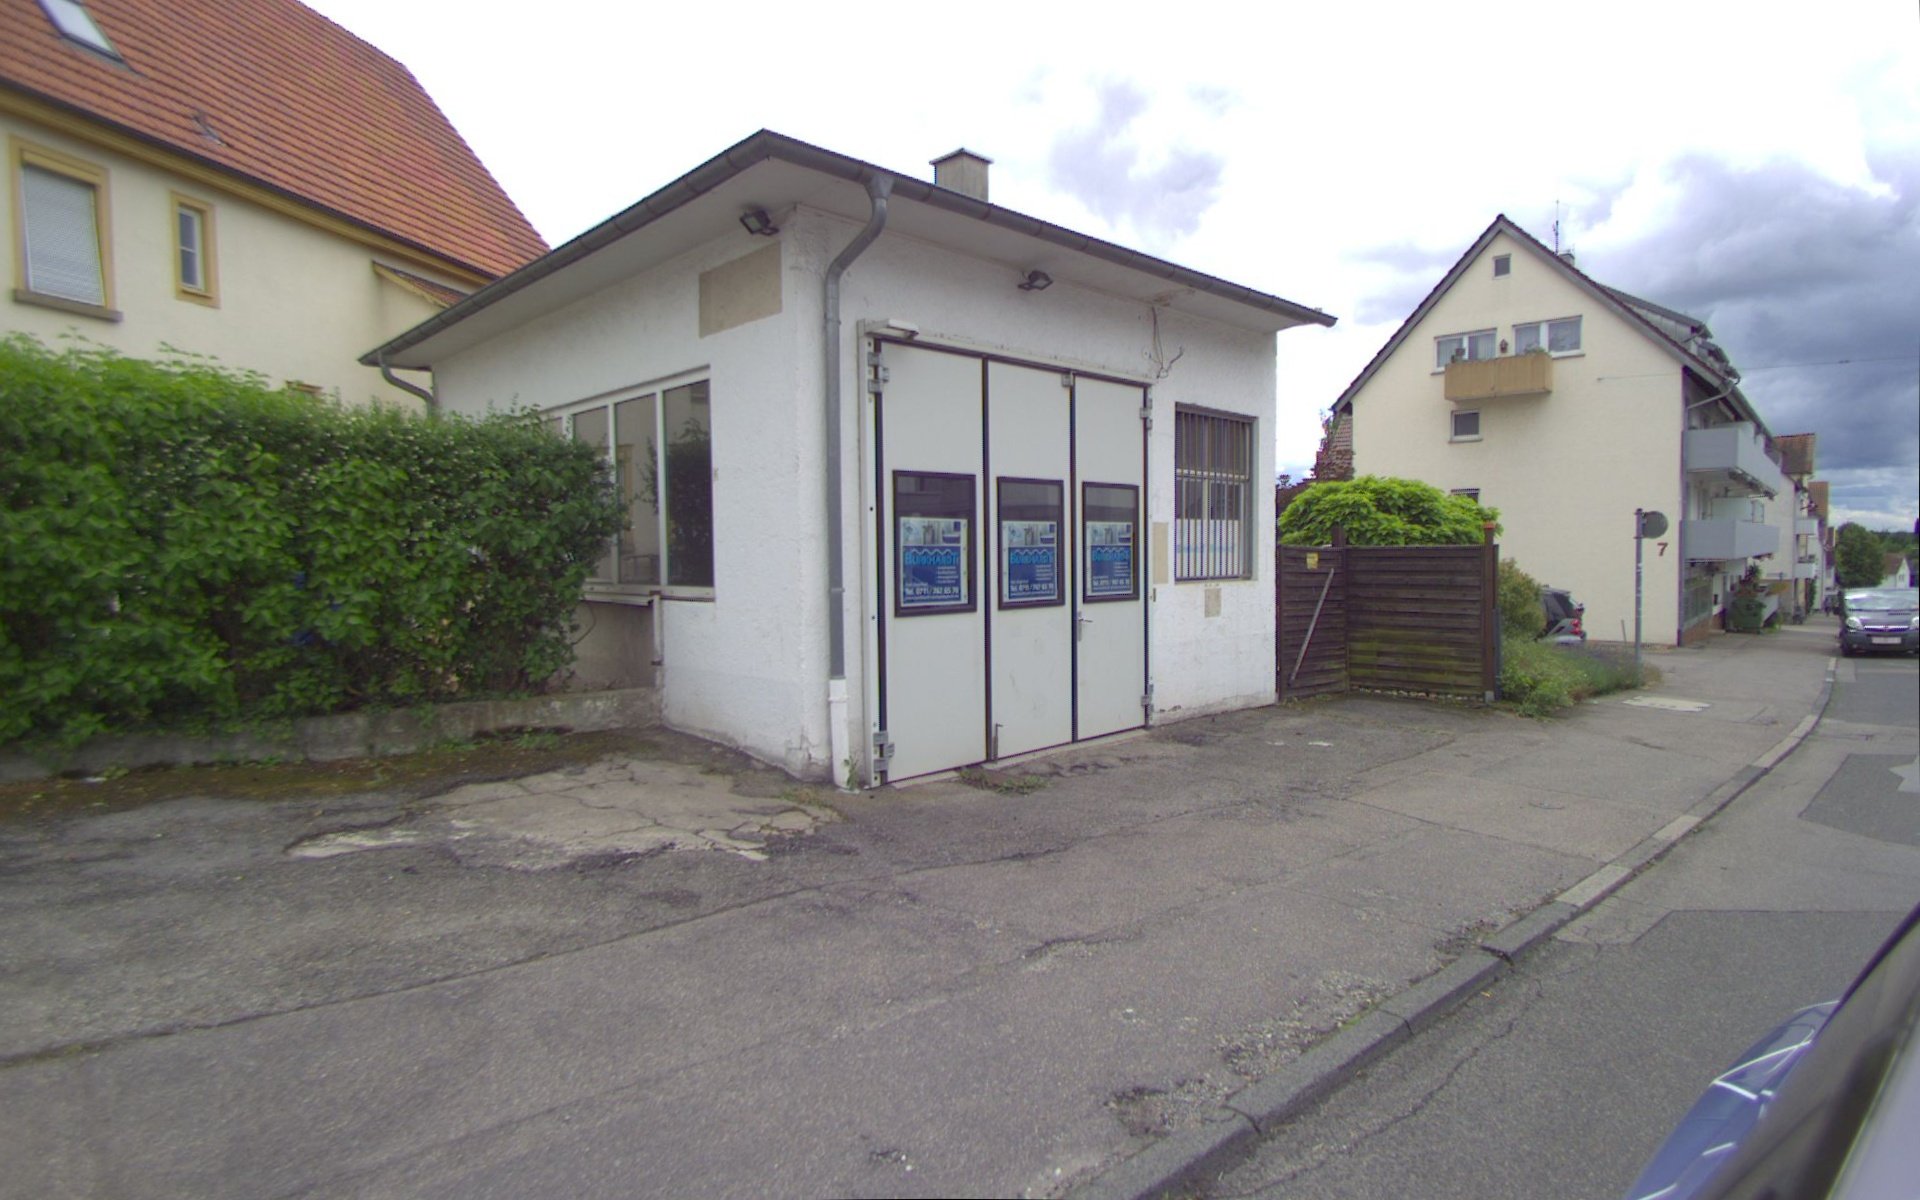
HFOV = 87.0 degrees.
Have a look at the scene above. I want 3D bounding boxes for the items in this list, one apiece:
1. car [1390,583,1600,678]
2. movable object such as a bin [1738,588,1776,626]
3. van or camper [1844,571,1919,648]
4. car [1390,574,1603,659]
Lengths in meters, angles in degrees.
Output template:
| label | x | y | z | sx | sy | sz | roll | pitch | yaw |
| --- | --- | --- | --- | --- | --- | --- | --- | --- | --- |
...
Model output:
| label | x | y | z | sx | sy | sz | roll | pitch | yaw |
| --- | --- | --- | --- | --- | --- | --- | --- | --- | --- |
| car | 9.887 | 0.510 | 18.996 | 3.287 | 1.538 | 1.691 | 2 | 2 | 24 |
| movable object such as a bin | 31.886 | 0.273 | 40.479 | 1.079 | 1.455 | 1.241 | -1 | 0 | 42 |
| van or camper | 26.618 | 0.245 | 28.892 | 1.991 | 2.039 | 4.989 | -2 | -1 | 41 |
| car | 12.243 | 0.312 | 23.178 | 4.098 | 1.674 | 1.881 | 3 | 2 | 35 |
